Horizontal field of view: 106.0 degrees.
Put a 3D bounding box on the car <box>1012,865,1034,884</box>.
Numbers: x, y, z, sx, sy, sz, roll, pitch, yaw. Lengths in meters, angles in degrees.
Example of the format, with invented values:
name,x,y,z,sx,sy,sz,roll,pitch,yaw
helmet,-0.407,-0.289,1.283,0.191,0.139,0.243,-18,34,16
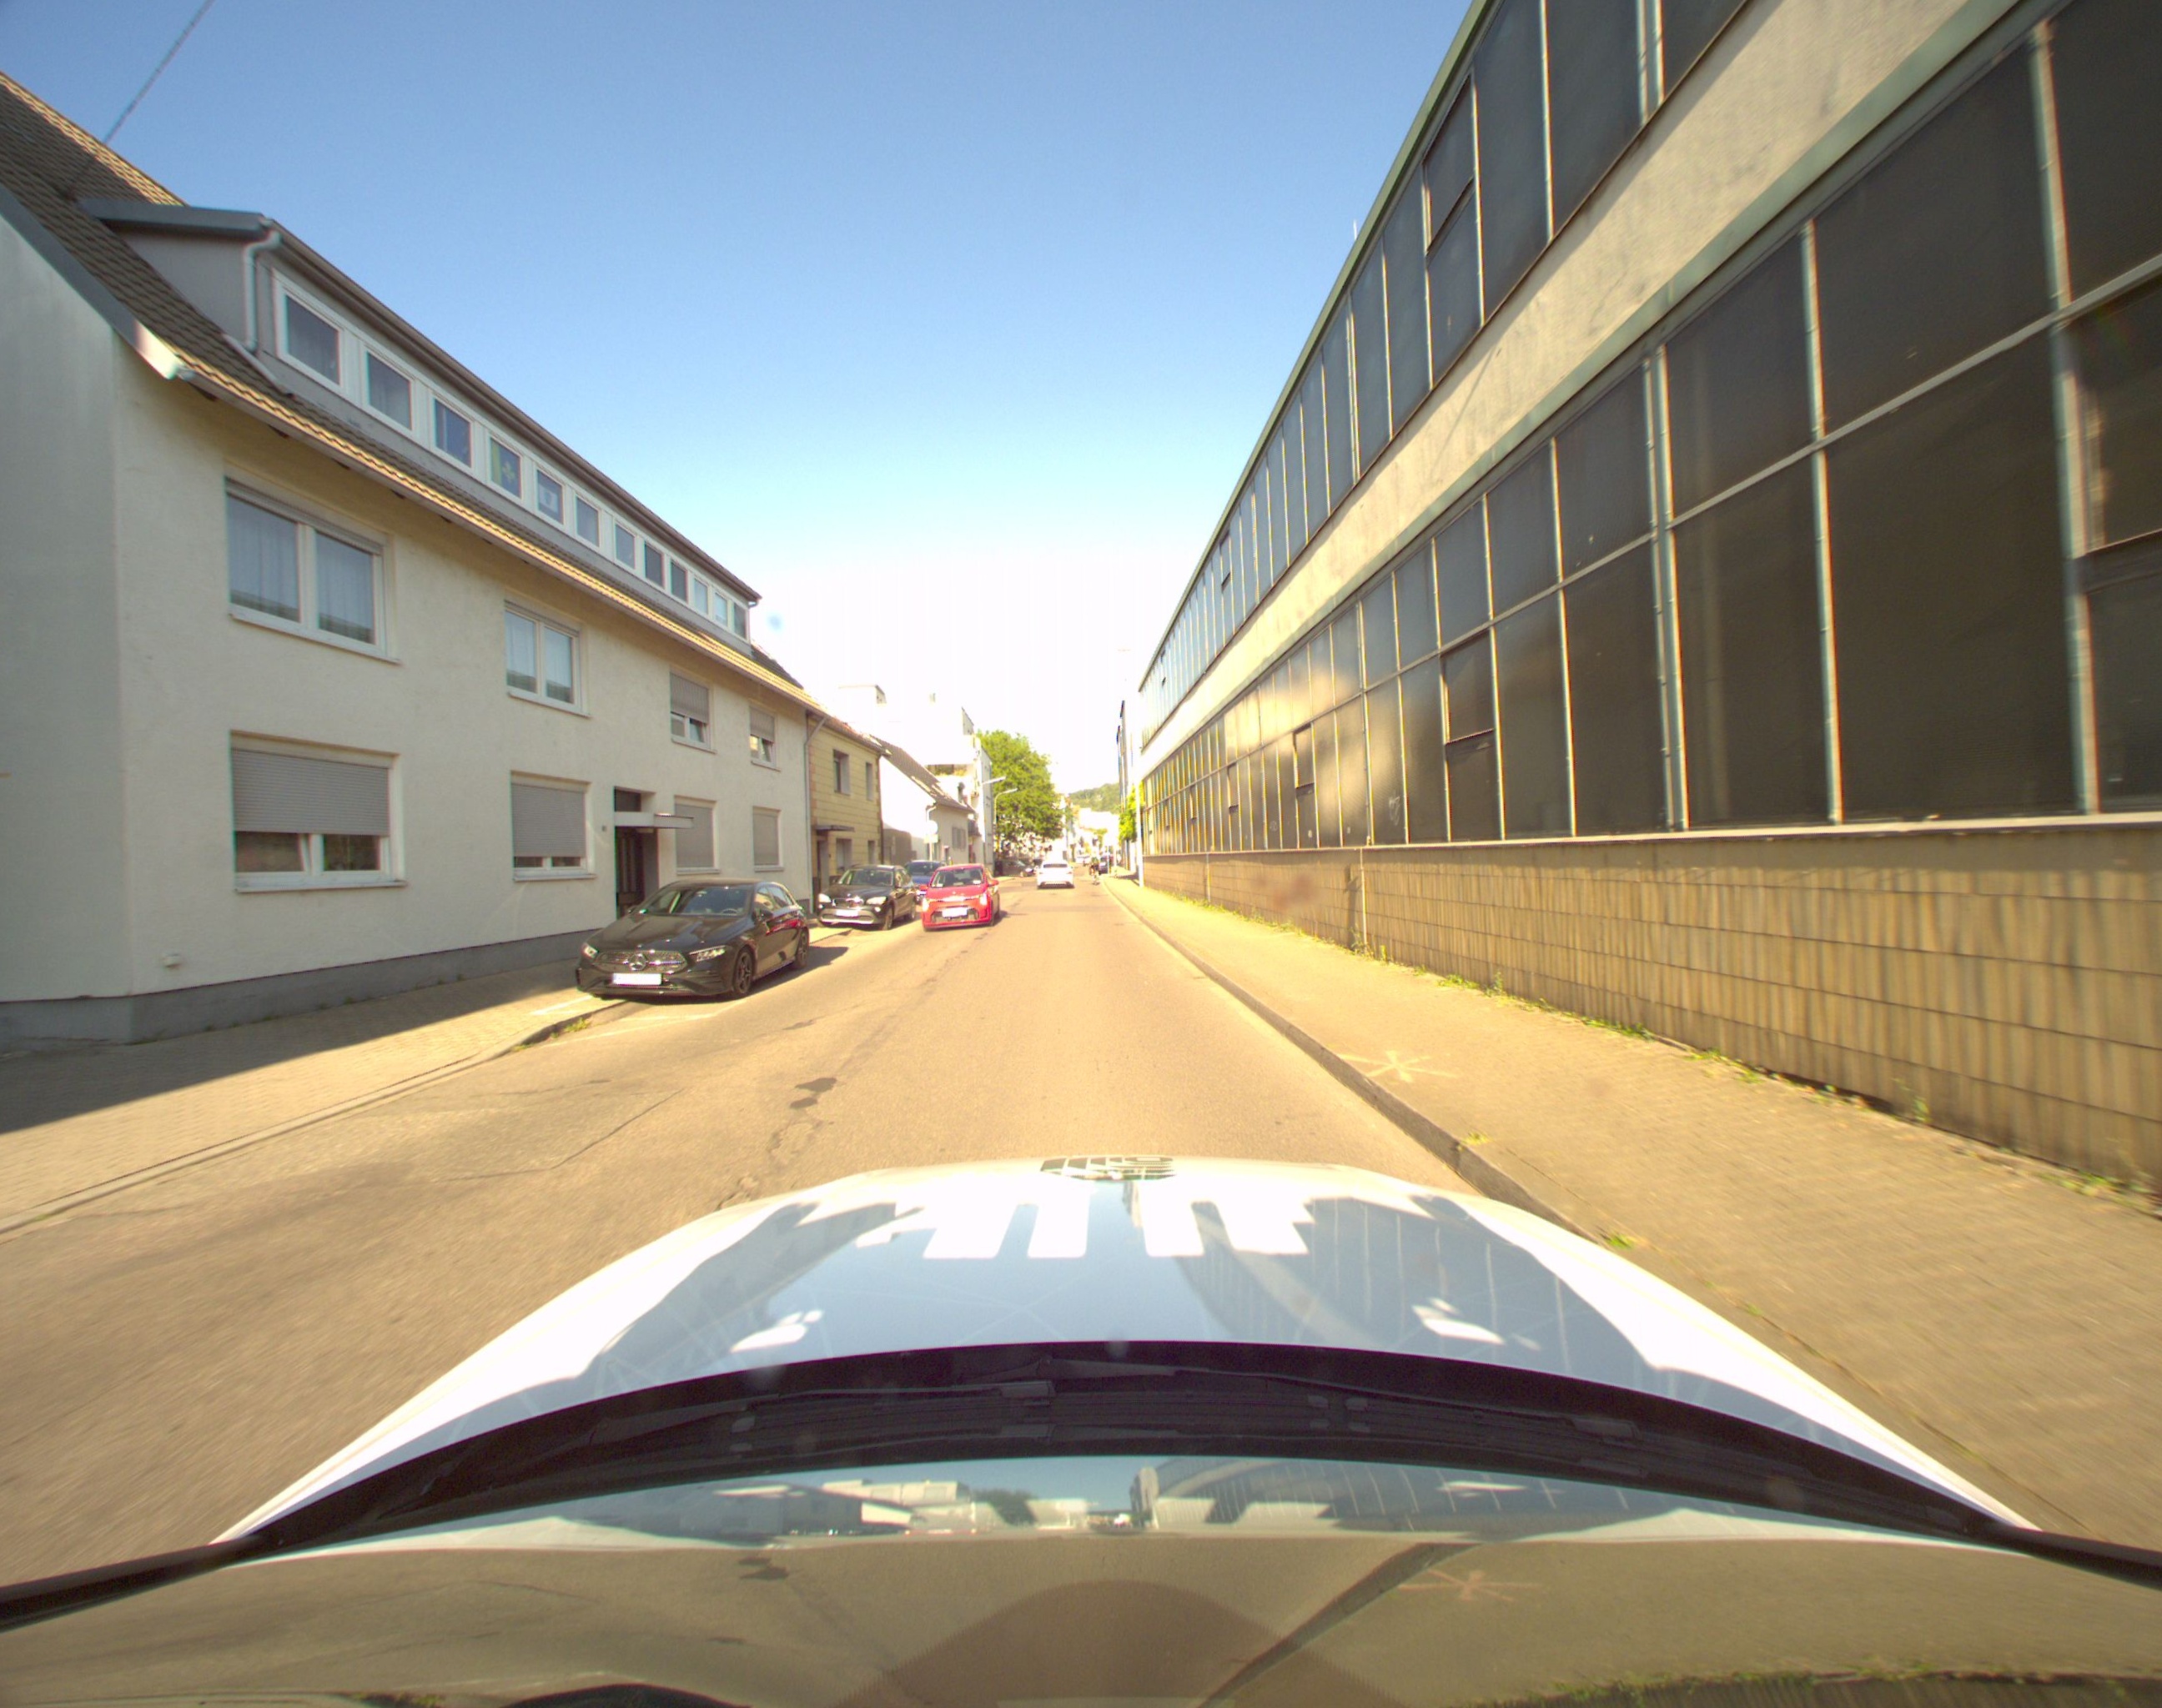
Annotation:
name,x,y,z,sx,sy,sz,roll,pitch,yaw
car,-5.999,2.133,85.202,1.847,1.791,4.607,1,-1,1

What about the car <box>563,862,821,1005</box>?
name,x,y,z,sx,sy,sz,roll,pitch,yaw
car,-5.043,0.961,11.304,1.681,1.535,4.327,3,-2,-4

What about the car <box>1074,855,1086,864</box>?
name,x,y,z,sx,sy,sz,roll,pitch,yaw
car,-0.171,1.070,159.504,1.937,1.587,4.624,-2,-2,3

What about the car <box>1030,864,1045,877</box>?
name,x,y,z,sx,sy,sz,roll,pitch,yaw
car,-5.555,2.104,103.400,1.699,1.575,3.911,1,-1,-1

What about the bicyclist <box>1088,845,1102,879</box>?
name,x,y,z,sx,sy,sz,roll,pitch,yaw
bicyclist,0.760,0.448,43.943,0.696,1.790,1.040,1,-2,0

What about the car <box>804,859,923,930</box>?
name,x,y,z,sx,sy,sz,roll,pitch,yaw
car,-5.503,0.964,21.228,1.852,1.587,4.334,3,-1,0

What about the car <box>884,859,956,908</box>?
name,x,y,z,sx,sy,sz,roll,pitch,yaw
car,-5.837,1.035,30.025,1.803,1.587,4.191,3,0,-1

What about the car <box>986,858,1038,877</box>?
name,x,y,z,sx,sy,sz,roll,pitch,yaw
car,-6.068,1.183,71.491,4.104,1.491,1.853,1,-2,11

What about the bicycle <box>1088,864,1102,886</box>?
name,x,y,z,sx,sy,sz,roll,pitch,yaw
bicycle,0.747,1.154,43.961,0.696,1.130,2.402,1,-2,1

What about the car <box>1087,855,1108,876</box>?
name,x,y,z,sx,sy,sz,roll,pitch,yaw
car,1.342,0.997,67.949,1.625,1.587,4.066,-2,-2,-1

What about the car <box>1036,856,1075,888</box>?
name,x,y,z,sx,sy,sz,roll,pitch,yaw
car,-1.267,0.927,40.748,1.837,1.491,4.140,2,-2,-2

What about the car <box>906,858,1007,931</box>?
name,x,y,z,sx,sy,sz,roll,pitch,yaw
car,-2.920,0.924,20.010,1.837,1.491,4.141,-4,-1,-1

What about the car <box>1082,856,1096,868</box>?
name,x,y,z,sx,sy,sz,roll,pitch,yaw
car,1.202,1.231,121.832,1.849,1.791,4.602,1,-1,-3
